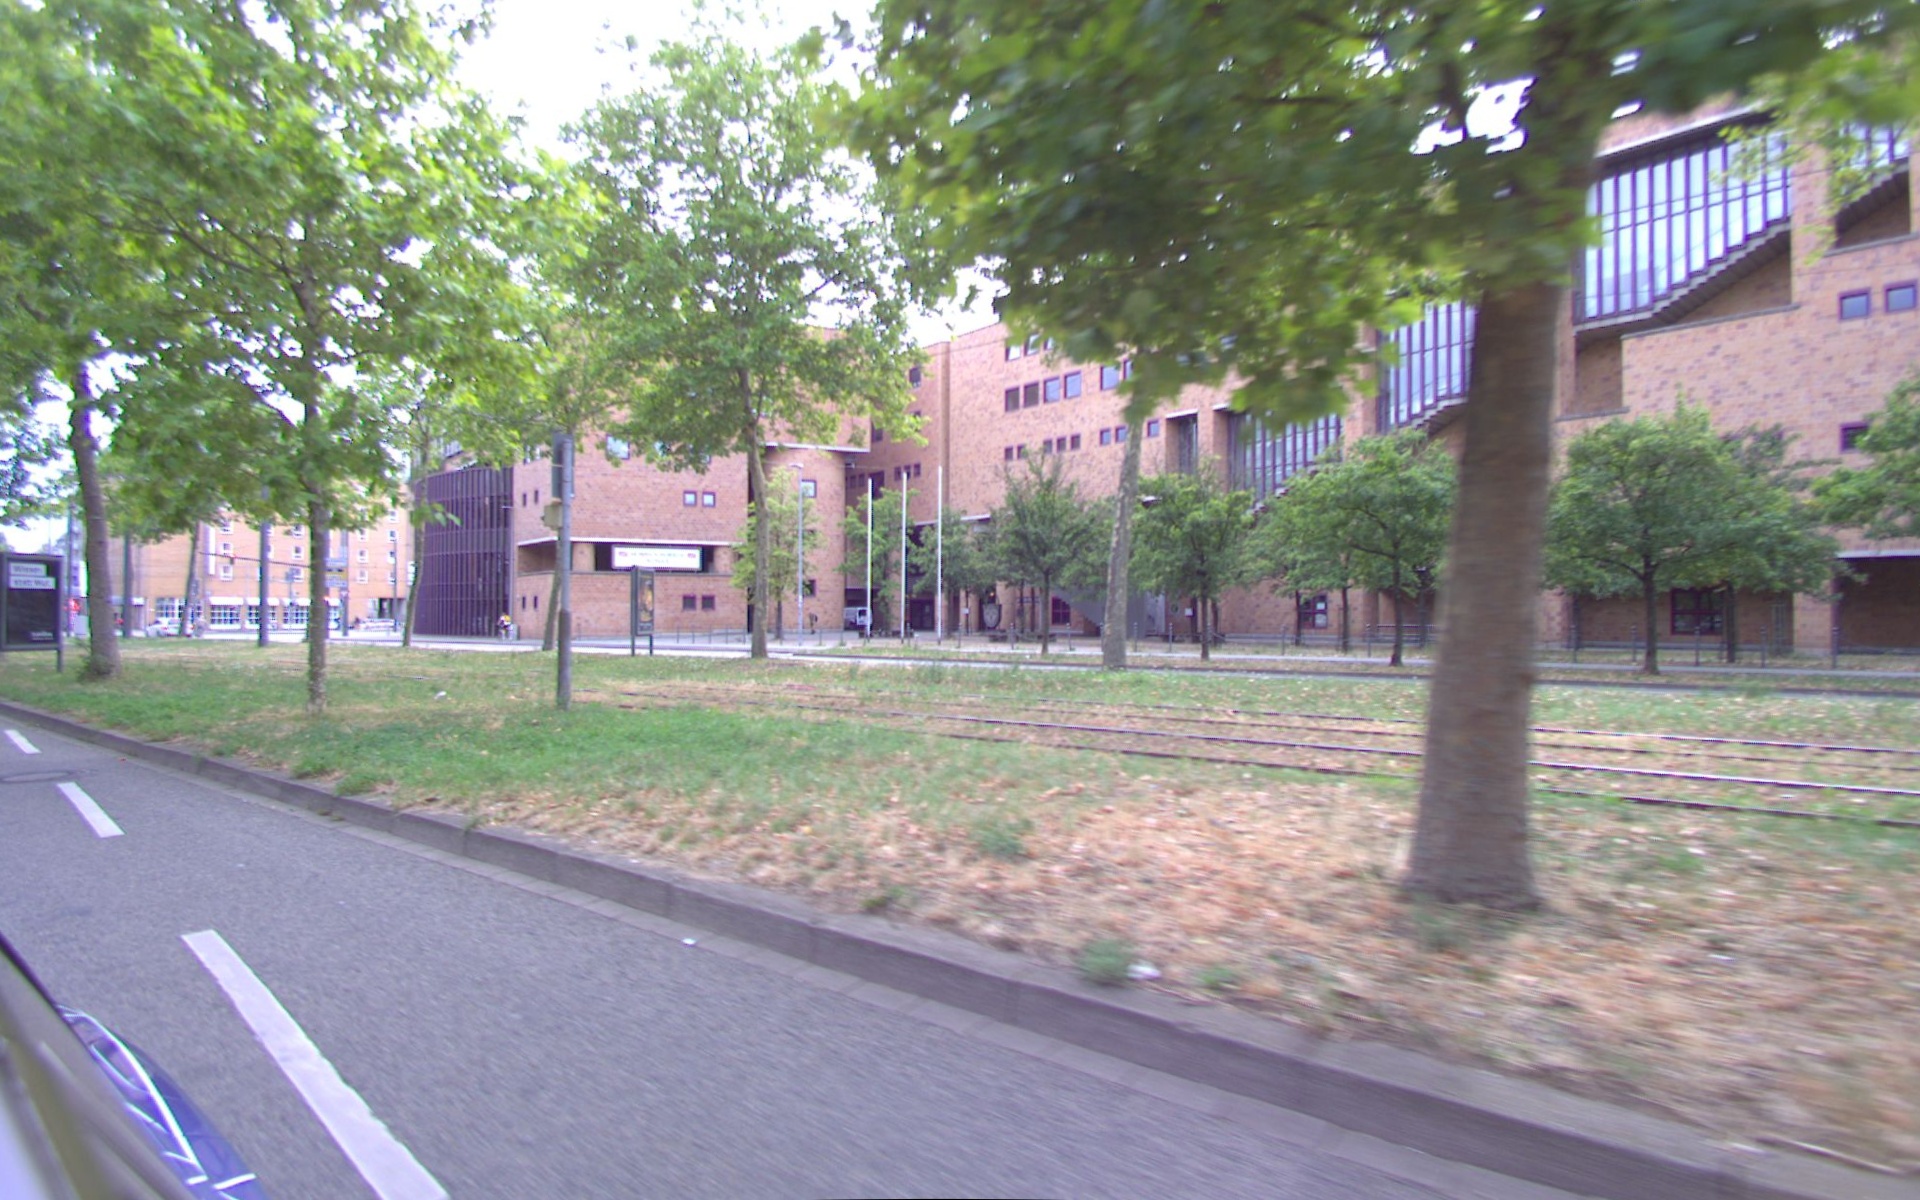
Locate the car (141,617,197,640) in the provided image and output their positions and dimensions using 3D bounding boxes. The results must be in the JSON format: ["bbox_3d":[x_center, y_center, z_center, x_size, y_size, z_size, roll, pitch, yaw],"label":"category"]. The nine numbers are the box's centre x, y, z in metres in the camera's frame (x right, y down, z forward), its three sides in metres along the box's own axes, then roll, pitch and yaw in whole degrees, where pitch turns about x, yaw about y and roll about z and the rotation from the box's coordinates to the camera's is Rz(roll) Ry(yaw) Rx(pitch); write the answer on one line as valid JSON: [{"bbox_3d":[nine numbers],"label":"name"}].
[{"bbox_3d":[-51.452,1.861,65.775,4.651,1.432,1.767,-1,-2,37],"label":"car"}]

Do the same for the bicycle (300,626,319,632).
[{"bbox_3d":[-78.198,3.501,121.638,0.639,0.787,1.775,0,-1,36],"label":"bicycle"}]

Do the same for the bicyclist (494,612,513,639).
[{"bbox_3d":[-27.660,1.544,61.315,0.984,1.603,0.657,-2,-2,42],"label":"bicyclist"}]

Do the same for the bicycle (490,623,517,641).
[{"bbox_3d":[-27.645,1.939,61.289,2.093,1.092,0.661,-1,-1,42],"label":"bicycle"}]

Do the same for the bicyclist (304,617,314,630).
[{"bbox_3d":[-78.235,2.846,121.607,0.635,1.512,0.855,0,-1,36],"label":"bicyclist"}]

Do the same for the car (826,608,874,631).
[{"bbox_3d":[-8.668,1.538,79.833,1.869,1.821,4.007,1,-2,-40],"label":"car"}]

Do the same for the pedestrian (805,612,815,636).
[{"bbox_3d":[-9.826,1.587,66.287,0.500,1.543,0.521,1,-2,-36],"label":"pedestrian"}]

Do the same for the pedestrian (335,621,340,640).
[{"bbox_3d":[-69.704,3.411,113.316,0.516,2.029,0.447,1,-2,-37],"label":"pedestrian"}]
